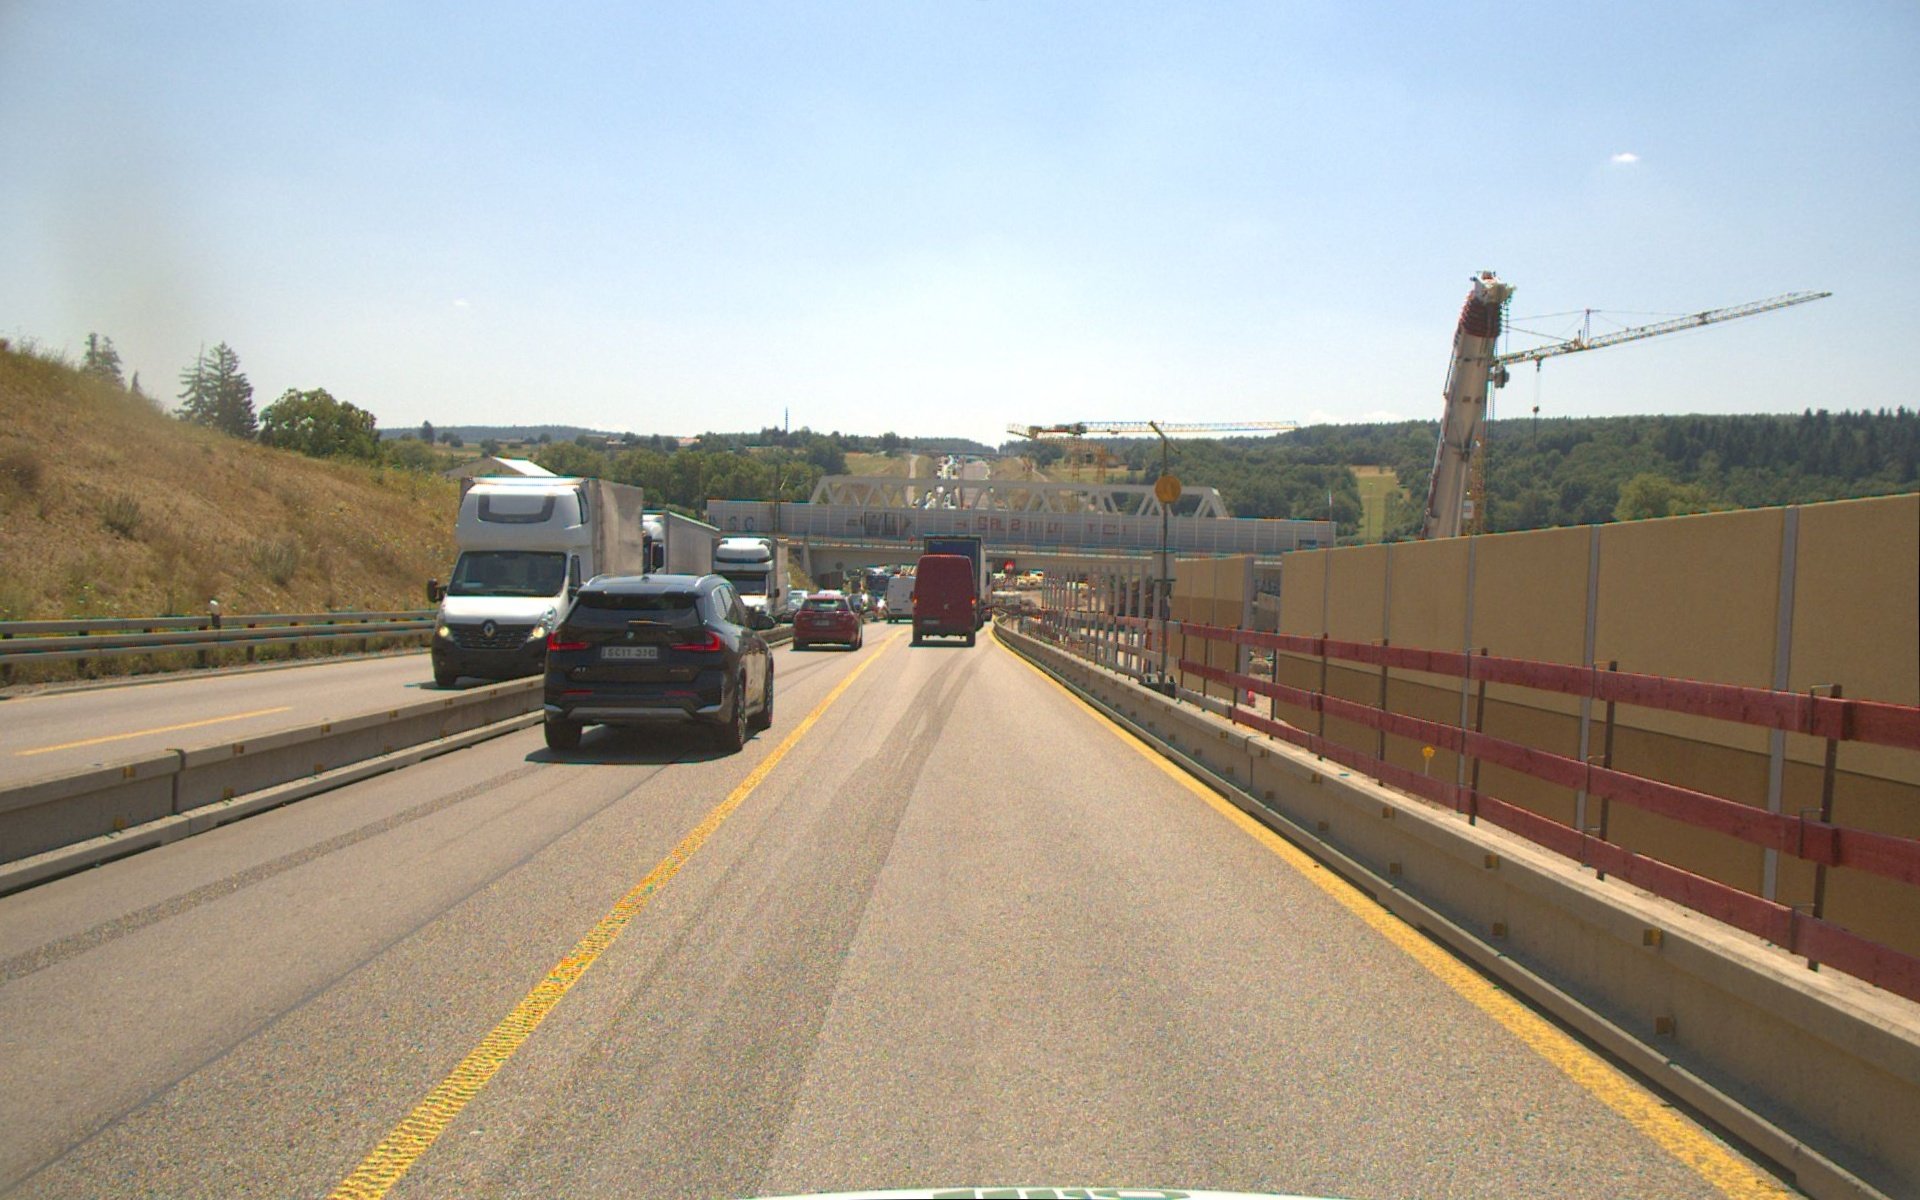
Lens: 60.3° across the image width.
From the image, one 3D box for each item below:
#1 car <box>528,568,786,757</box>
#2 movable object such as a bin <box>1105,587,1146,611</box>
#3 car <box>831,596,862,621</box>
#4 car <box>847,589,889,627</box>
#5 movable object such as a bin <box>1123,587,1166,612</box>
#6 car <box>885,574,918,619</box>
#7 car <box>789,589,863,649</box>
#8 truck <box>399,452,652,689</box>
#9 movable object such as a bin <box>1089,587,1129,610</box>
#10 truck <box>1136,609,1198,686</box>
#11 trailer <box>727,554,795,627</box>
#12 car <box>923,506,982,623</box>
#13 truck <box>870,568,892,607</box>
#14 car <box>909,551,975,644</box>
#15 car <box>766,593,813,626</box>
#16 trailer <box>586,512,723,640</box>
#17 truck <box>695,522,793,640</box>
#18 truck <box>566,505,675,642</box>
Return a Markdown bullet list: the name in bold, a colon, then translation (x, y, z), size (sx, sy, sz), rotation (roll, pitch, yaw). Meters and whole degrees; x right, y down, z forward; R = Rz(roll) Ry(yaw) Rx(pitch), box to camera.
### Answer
- **car**: translation (-2.888, 0.532, 16.739), size (1.841, 1.646, 4.498), rotation (0, 0, -1)
- **movable object such as a bin**: translation (20.657, -0.171, 206.383), size (5.038, 2.856, 2.144), rotation (1, 0, 5)
- **car**: translation (-7.744, 0.542, 113.324), size (1.754, 1.639, 4.733), rotation (1, 0, 0)
- **car**: translation (-4.152, 0.337, 75.252), size (1.802, 1.683, 4.164), rotation (0, 1, -2)
- **movable object such as a bin**: translation (22.248, -0.086, 199.262), size (5.038, 2.856, 2.144), rotation (1, 0, 5)
- **car**: translation (-3.243, -0.207, 92.529), size (1.740, 2.484, 4.205), rotation (0, 0, -1)
- **car**: translation (-3.605, 0.492, 45.213), size (1.740, 1.544, 4.205), rotation (0, 0, -1)
- **truck**: translation (-7.051, -0.451, 27.866), size (2.487, 3.433, 7.036), rotation (1, 0, -1)
- **movable object such as a bin**: translation (18.965, -0.190, 210.956), size (5.038, 2.856, 2.144), rotation (1, 0, 5)
- **truck**: translation (11.371, 2.557, 91.214), size (2.702, 3.954, 5.882), rotation (1, 0, 1)
- **trailer**: translation (-11.338, -0.552, 95.186), size (2.537, 3.868, 11.915), rotation (1, 0, -1)
- **car**: translation (-0.415, -1.616, 77.888), size (2.568, 5.120, 10.394), rotation (0, 0, -1)
- **truck**: translation (-8.588, -1.352, 180.538), size (2.310, 4.085, 3.998), rotation (1, 0, -2)
- **car**: translation (-0.581, -0.093, 51.281), size (1.948, 2.737, 4.622), rotation (0, 0, -1)
- **car**: translation (-7.876, 0.429, 76.698), size (1.743, 1.483, 4.719), rotation (1, 0, -2)
- **trailer**: translation (-10.847, -0.815, 60.232), size (2.643, 4.095, 13.699), rotation (1, 0, -1)
- **truck**: translation (-7.443, -0.650, 57.772), size (2.537, 3.824, 7.357), rotation (1, 0, -1)
- **truck**: translation (-10.679, -0.807, 52.388), size (2.643, 4.120, 3.954), rotation (1, 0, -1)
